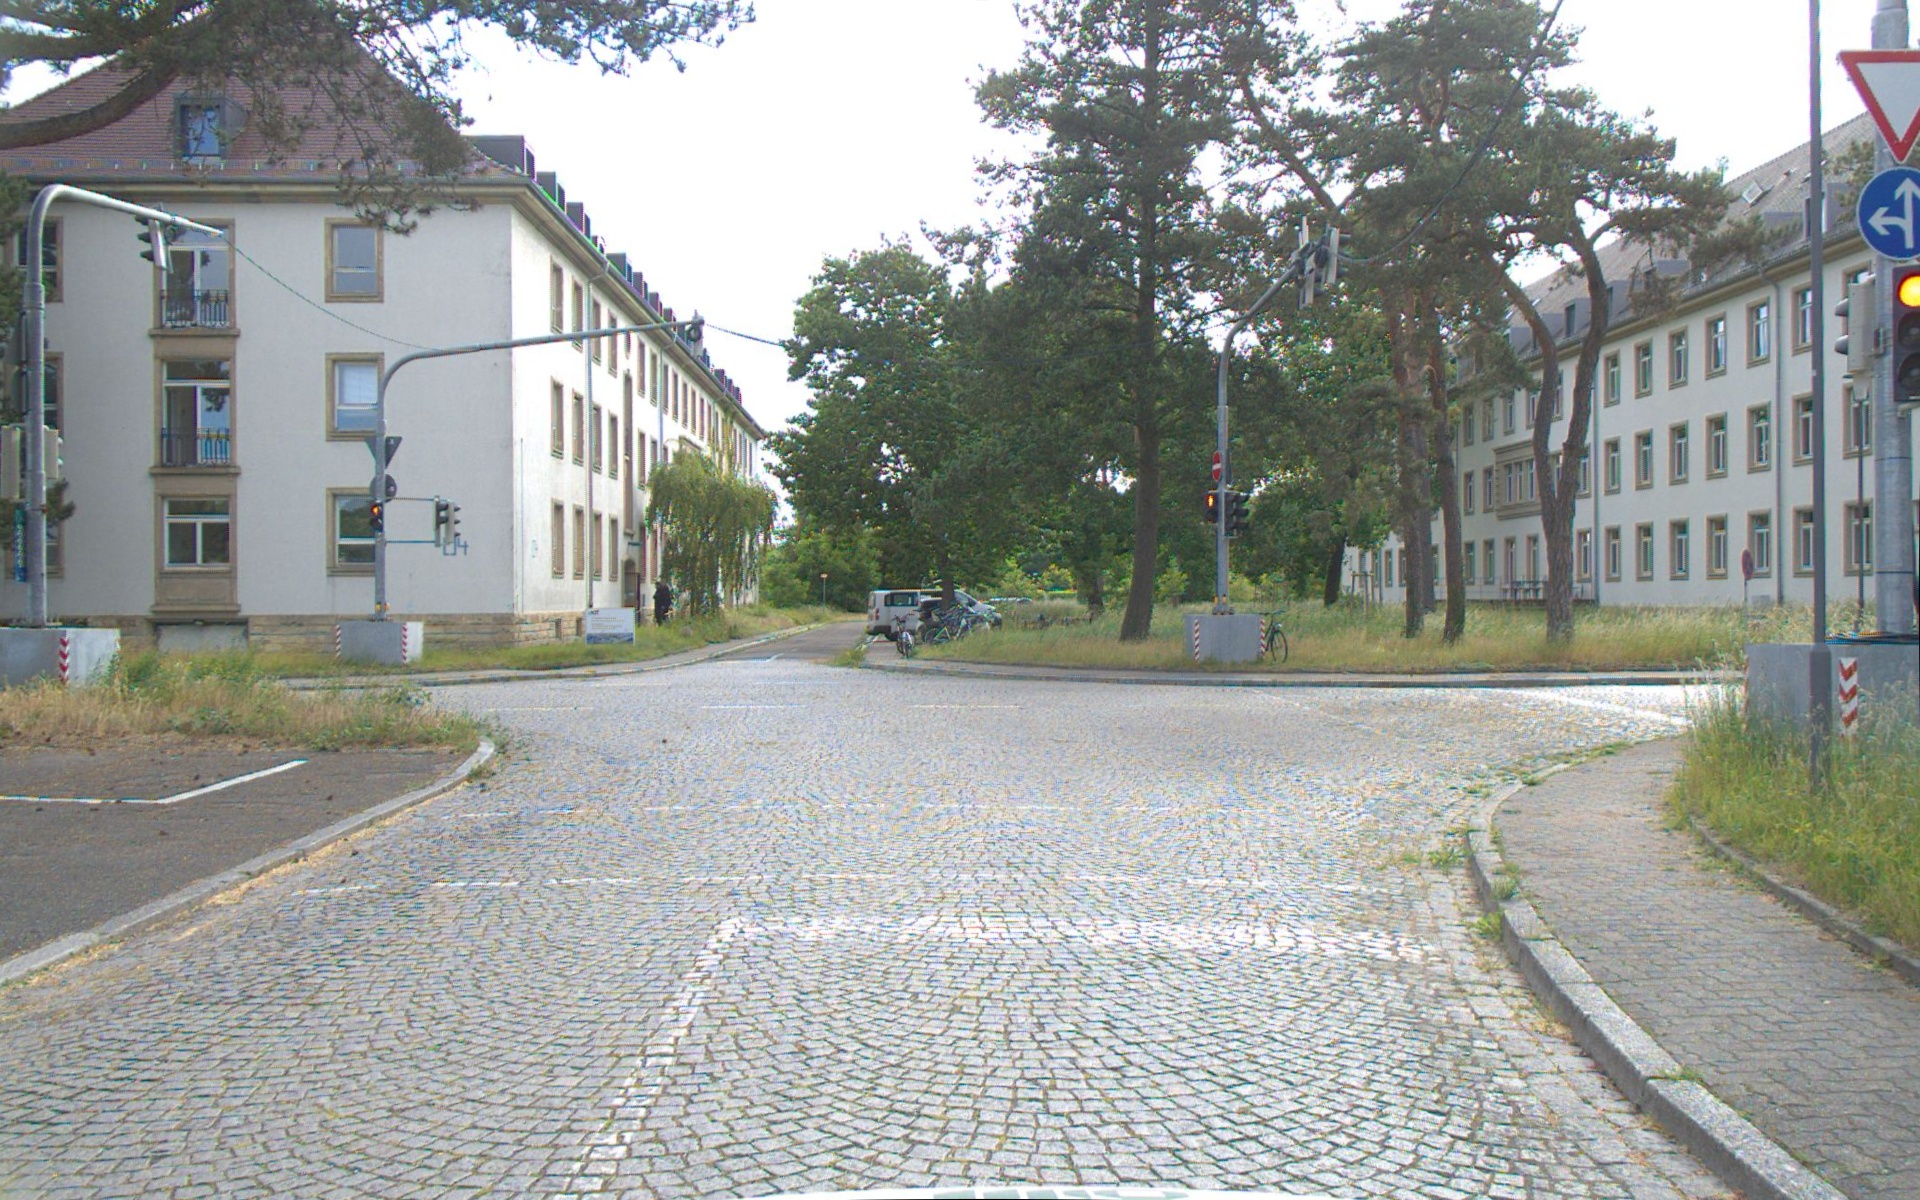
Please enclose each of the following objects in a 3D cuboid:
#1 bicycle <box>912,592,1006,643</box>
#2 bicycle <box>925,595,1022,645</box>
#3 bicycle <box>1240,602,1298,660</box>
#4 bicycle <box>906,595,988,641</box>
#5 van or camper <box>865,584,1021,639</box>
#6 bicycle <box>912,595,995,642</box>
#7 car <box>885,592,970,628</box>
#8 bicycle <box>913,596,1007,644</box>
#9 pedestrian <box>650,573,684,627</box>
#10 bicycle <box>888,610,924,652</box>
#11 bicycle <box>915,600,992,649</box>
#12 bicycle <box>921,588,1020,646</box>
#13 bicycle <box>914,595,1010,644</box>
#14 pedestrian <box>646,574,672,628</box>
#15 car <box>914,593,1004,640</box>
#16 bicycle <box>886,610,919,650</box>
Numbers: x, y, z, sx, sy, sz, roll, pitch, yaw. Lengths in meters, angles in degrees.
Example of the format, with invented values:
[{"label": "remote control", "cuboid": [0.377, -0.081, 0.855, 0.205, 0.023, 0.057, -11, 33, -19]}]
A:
[{"label": "bicycle", "cuboid": [-0.029, 0.490, 45.877, 2.566, 1.391, 0.874, 0, 0, -3]}, {"label": "bicycle", "cuboid": [0.382, 0.577, 47.691, 2.746, 1.396, 0.950, 0, 0, -3]}, {"label": "bicycle", "cuboid": [6.218, 0.607, 33.376, 0.632, 1.081, 1.832, -4, 0, -5]}, {"label": "bicycle", "cuboid": [-0.408, 0.565, 51.735, 2.517, 1.396, 0.950, 0, 0, -3]}, {"label": "van or camper", "cuboid": [-0.675, 0.422, 63.397, 5.645, 1.991, 2.229, 0, 0, -14]}, {"label": "bicycle", "cuboid": [-0.222, 0.562, 50.903, 2.517, 1.396, 0.950, 0, 0, -3]}, {"label": "car", "cuboid": [-1.535, 0.451, 77.168, 3.908, 1.628, 1.702, 0, 0, -4]}, {"label": "bicycle", "cuboid": [-0.010, 0.581, 49.106, 2.746, 1.396, 0.950, 0, 0, -3]}, {"label": "pedestrian", "cuboid": [-10.670, -0.001, 60.209, 1.173, 1.903, 1.545, 1, -1, -12]}, {"label": "bicycle", "cuboid": [-1.377, 0.773, 41.839, 0.882, 1.014, 1.978, 0, 0, -2]}, {"label": "bicycle", "cuboid": [-0.197, 0.662, 45.259, 2.070, 1.329, 0.874, 0, 0, -3]}, {"label": "bicycle", "cuboid": [0.284, 0.472, 46.758, 2.746, 1.611, 0.950, 0, 0, -3]}, {"label": "bicycle", "cuboid": [0.046, 0.575, 48.214, 2.746, 1.396, 0.950, 0, 0, -3]}, {"label": "pedestrian", "cuboid": [-11.097, 0.044, 60.951, 0.850, 1.966, 0.834, 2, -1, -13]}, {"label": "car", "cuboid": [-0.047, 0.590, 59.875, 3.160, 1.649, 1.936, 1, -1, -3]}, {"label": "bicycle", "cuboid": [-1.514, 0.788, 43.927, 0.712, 1.014, 1.979, 0, 0, 3]}]
